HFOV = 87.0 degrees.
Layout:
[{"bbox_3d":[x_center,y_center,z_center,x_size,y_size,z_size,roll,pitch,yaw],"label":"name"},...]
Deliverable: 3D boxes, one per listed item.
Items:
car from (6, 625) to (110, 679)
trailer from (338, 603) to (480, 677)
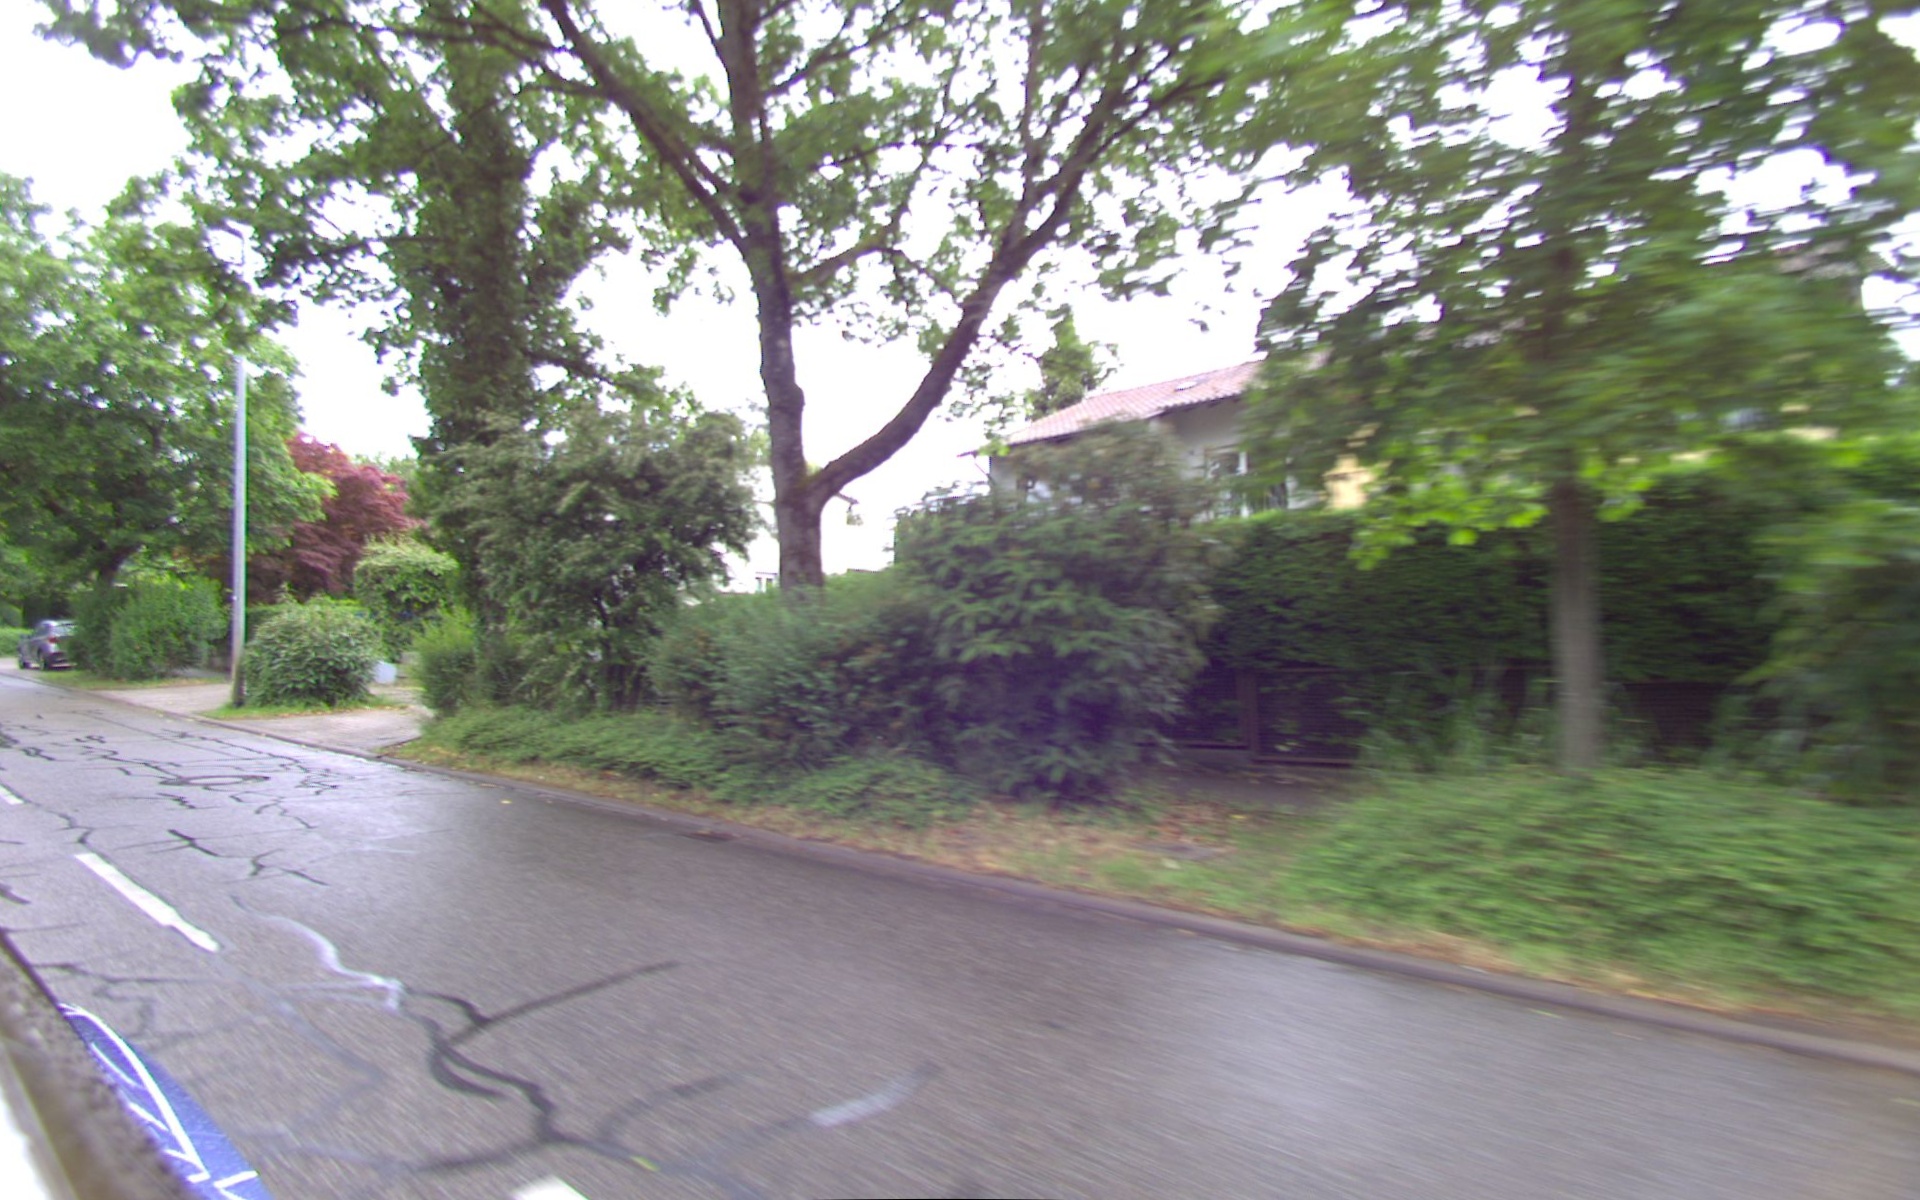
[{"bbox_3d":[-28.822,1.609,32.290,4.276,1.554,1.648,-1,1,37],"label":"car"},{"bbox_3d":[-15.402,1.185,28.417,1.421,1.813,3.091,-3,-8,34],"label":"trailer"}]
